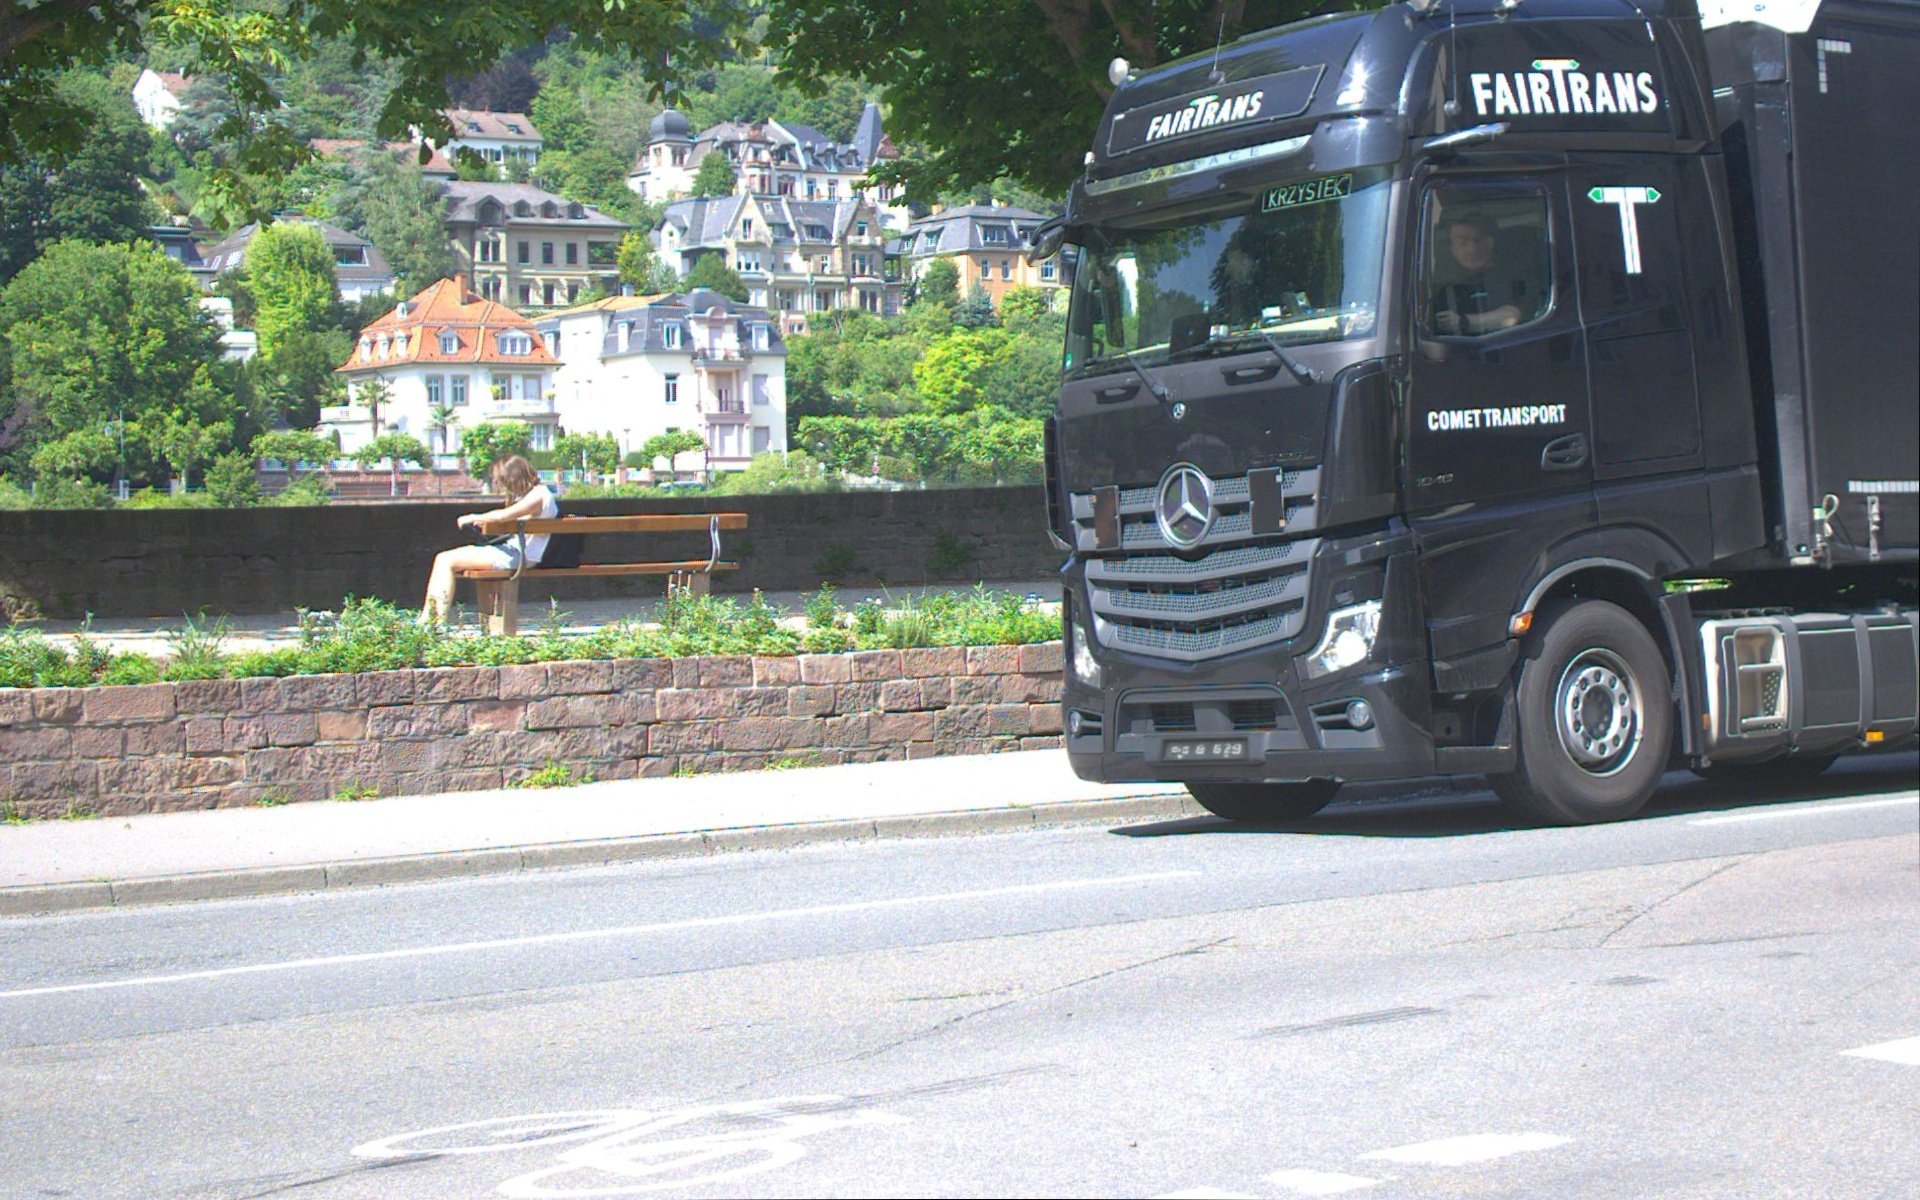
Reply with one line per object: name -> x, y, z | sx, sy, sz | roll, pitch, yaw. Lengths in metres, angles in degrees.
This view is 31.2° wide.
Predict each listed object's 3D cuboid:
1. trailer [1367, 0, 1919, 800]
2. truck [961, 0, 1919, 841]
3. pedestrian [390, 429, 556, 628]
trailer -> 8.632, -1.254, 21.906 | 13.731, 4.090, 2.841 | -2, 0, -37
truck -> 3.295, -1.034, 17.795 | 5.914, 4.057, 2.839 | -2, -1, -38
pedestrian -> -3.107, -0.442, 21.914 | 0.798, 1.207, 0.715 | 1, -4, -33
